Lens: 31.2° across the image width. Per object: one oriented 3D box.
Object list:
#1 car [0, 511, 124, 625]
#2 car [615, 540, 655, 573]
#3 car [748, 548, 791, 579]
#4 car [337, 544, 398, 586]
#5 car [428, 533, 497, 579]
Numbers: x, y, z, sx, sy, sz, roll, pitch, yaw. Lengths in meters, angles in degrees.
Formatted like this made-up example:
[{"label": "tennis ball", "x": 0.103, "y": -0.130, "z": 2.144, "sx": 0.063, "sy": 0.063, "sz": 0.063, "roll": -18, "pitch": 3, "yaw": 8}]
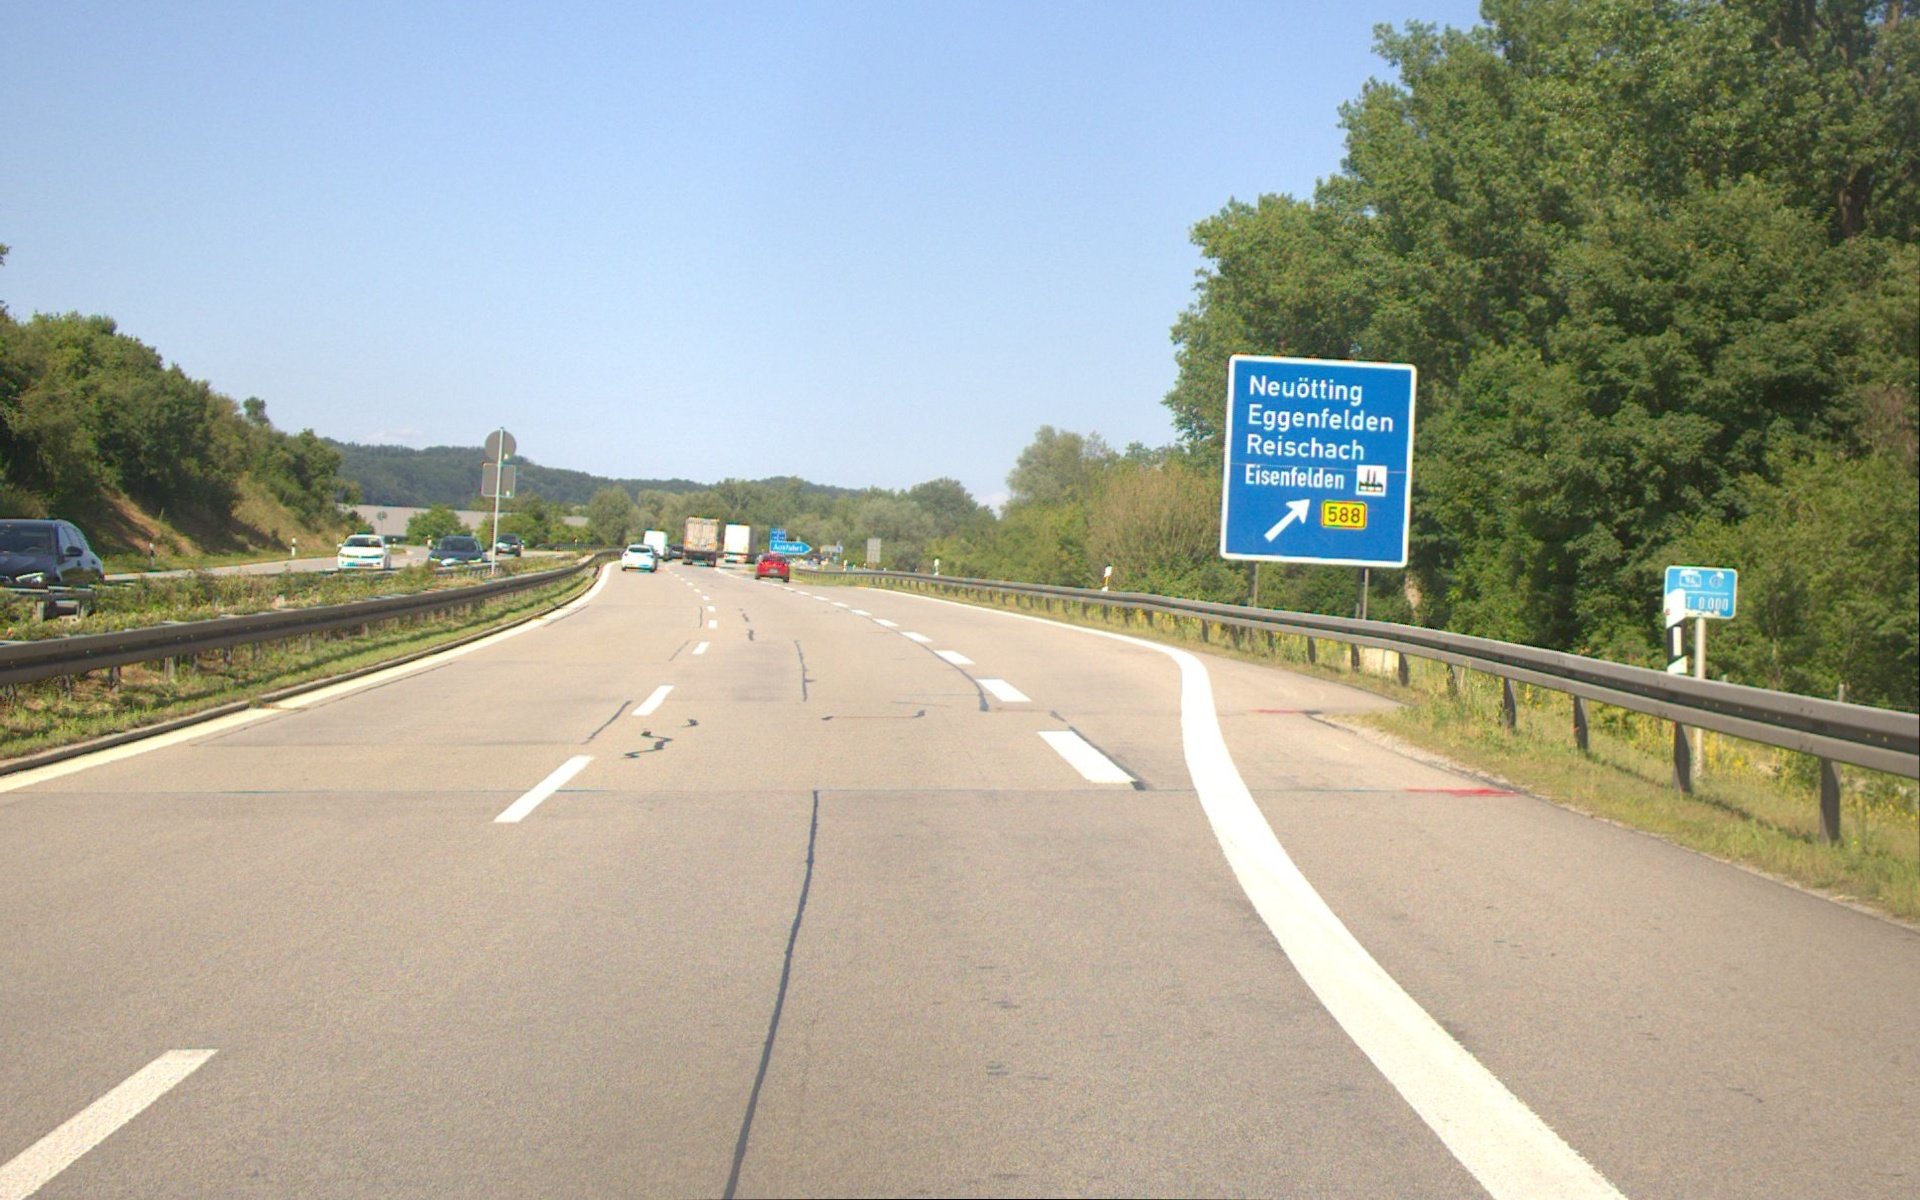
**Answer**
[{"label": "car", "x": -12.654, "y": -0.406, "z": 46.465, "sx": 1.644, "sy": 1.450, "sz": 4.907, "roll": 1, "pitch": 0, "yaw": -2}, {"label": "car", "x": -17.496, "y": -2.335, "z": 185.230, "sx": 2.061, "sy": 1.619, "sz": 4.000, "roll": 2, "pitch": -2, "yaw": -5}, {"label": "car", "x": -10.276, "y": -1.953, "z": 185.545, "sx": 1.784, "sy": 1.426, "sz": 3.999, "roll": 6, "pitch": 0, "yaw": 3}, {"label": "car", "x": -22.086, "y": -1.321, "z": 128.301, "sx": 1.839, "sy": 1.434, "sz": 4.413, "roll": 2, "pitch": 1, "yaw": -5}, {"label": "car", "x": -17.074, "y": -1.504, "z": 118.068, "sx": 1.993, "sy": 1.540, "sz": 4.677, "roll": 0, "pitch": 1, "yaw": -4}]
